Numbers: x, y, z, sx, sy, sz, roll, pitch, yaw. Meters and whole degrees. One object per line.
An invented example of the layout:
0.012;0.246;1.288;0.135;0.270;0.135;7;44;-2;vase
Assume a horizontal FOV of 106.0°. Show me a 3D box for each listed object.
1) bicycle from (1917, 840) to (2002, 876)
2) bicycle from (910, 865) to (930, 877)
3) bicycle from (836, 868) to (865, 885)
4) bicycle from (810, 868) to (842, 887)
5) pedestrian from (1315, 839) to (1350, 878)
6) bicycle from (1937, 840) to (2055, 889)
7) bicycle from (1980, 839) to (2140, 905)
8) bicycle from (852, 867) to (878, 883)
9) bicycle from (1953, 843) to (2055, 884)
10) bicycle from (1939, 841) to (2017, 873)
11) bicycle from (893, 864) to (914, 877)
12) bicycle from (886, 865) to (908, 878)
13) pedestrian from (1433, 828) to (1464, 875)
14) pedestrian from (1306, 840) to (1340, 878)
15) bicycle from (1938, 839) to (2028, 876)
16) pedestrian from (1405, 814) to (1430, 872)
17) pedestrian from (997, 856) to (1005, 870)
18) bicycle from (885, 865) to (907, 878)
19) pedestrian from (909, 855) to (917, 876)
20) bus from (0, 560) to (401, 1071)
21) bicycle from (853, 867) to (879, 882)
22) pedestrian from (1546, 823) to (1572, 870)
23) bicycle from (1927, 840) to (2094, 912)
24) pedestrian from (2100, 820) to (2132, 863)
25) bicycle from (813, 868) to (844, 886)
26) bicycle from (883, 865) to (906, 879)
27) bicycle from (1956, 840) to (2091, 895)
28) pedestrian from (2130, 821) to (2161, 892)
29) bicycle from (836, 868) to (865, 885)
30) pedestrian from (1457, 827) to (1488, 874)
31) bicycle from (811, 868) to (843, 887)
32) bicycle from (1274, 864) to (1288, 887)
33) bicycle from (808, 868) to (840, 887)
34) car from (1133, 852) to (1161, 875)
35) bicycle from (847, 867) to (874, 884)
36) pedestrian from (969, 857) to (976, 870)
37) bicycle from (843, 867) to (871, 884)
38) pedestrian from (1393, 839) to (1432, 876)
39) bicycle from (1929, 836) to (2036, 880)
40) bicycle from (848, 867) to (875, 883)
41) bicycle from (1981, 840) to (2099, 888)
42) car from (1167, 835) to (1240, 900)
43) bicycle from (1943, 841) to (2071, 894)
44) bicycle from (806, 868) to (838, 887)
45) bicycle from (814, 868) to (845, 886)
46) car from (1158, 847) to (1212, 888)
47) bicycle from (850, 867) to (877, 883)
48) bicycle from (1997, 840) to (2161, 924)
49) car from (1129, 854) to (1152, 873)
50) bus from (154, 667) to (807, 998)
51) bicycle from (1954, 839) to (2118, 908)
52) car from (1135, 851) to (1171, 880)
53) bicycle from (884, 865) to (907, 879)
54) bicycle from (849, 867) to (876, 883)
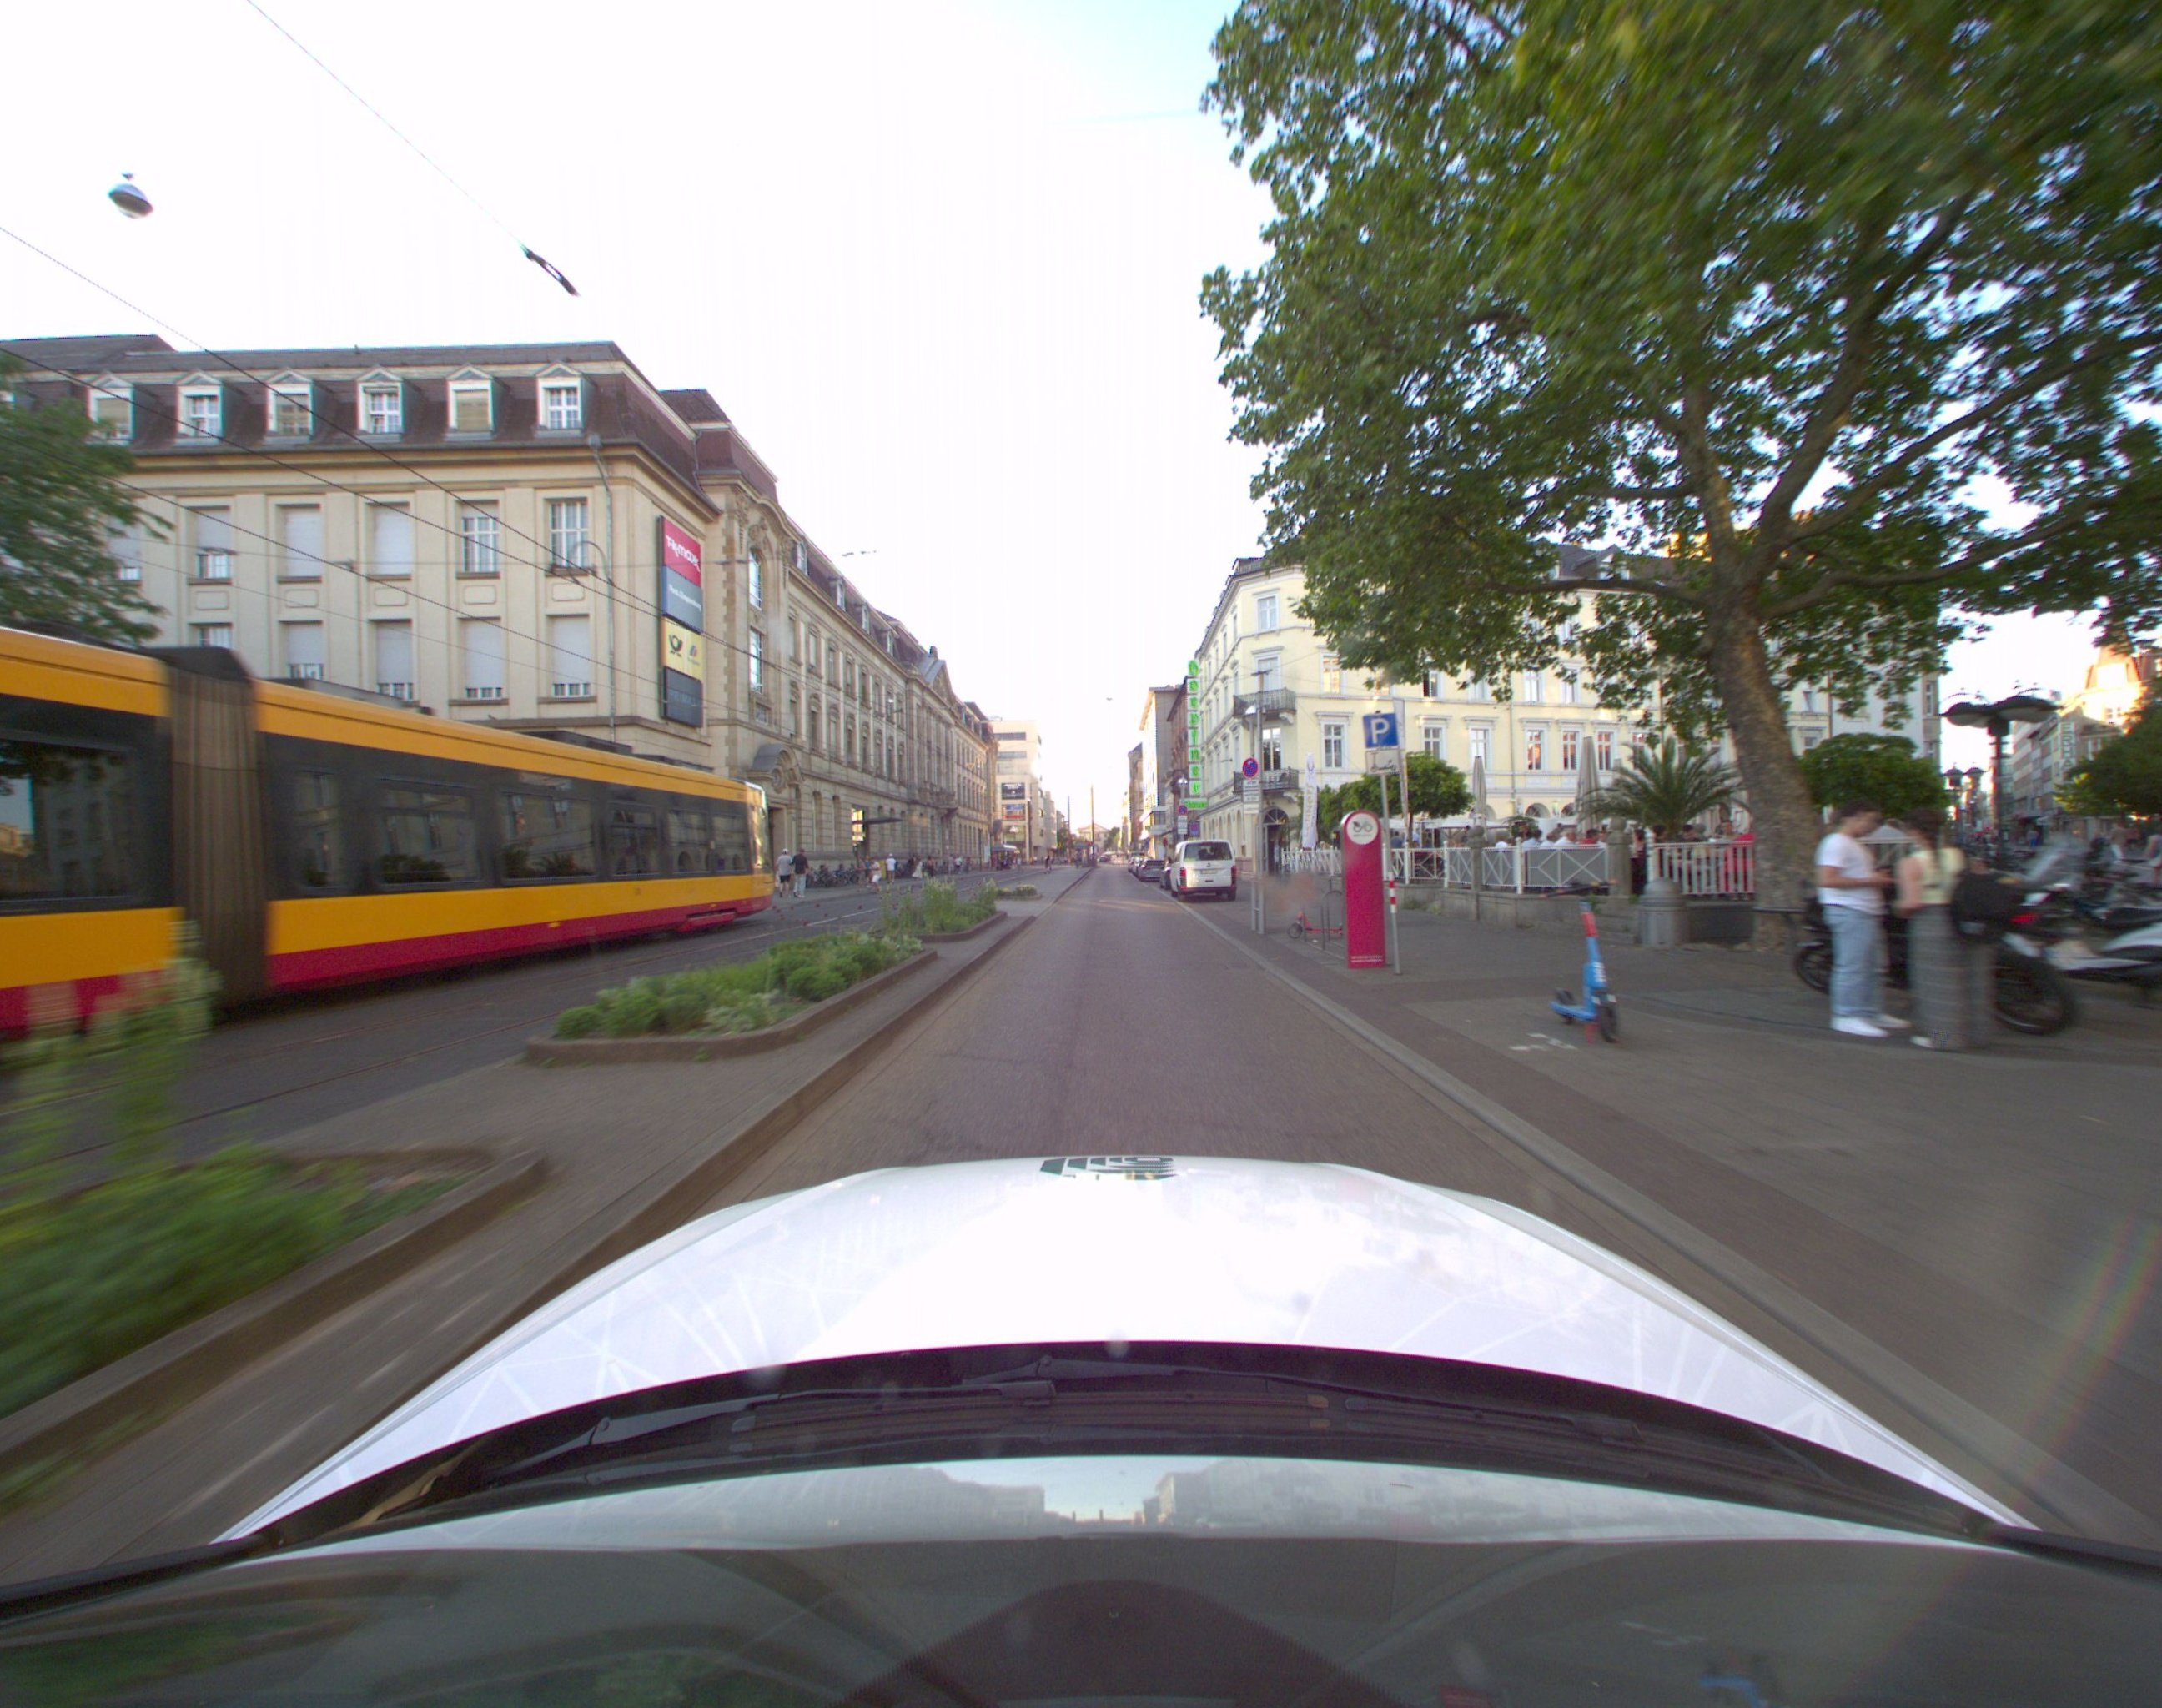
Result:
32.769;0.158;30.431;2.089;1.291;0.445;-1;0;36;bicycle
-13.231;1.377;66.851;1.583;0.949;0.358;-1;-2;-11;bicycle
-13.535;1.331;47.871;1.583;0.949;0.358;-1;-1;-11;bicycle
-13.718;1.265;43.771;1.583;0.949;0.358;-1;-2;-11;bicycle
8.636;0.159;28.016;0.899;1.314;0.967;-1;-2;1;pedestrian
24.921;0.289;22.238;2.090;1.291;0.445;-1;1;36;bicycle
20.262;0.343;16.923;0.444;1.291;2.095;-2;1;-34;bicycle
-13.738;1.336;51.818;1.583;0.949;0.358;-1;-2;-11;bicycle
29.569;0.313;26.135;2.089;1.291;0.445;-1;0;36;bicycle
37.112;0.154;33.725;2.089;1.291;0.445;-1;0;36;bicycle
-13.518;1.295;62.077;1.583;0.949;0.358;-1;-2;-11;bicycle
-13.761;1.320;60.880;1.583;0.949;0.358;-1;-2;-11;bicycle
13.128;-0.088;29.105;0.754;1.644;0.660;-1;-2;2;pedestrian
8.652;0.192;29.128;0.899;1.306;0.967;-1;-2;1;pedestrian
31.979;0.129;28.913;2.089;1.291;0.445;-1;0;36;bicycle
13.425;-0.425;32.530;0.614;2.305;0.577;-1;-2;-20;pedestrian
-9.075;1.005;92.396;0.777;1.580;0.676;-1;0;-10;pedestrian
-13.717;1.316;60.445;1.583;0.949;0.358;-1;-2;-11;bicycle
-13.069;0.893;63.309;0.517;1.672;0.480;-1;-1;-14;pedestrian
-9.098;-0.245;4.875;2.811;3.624;8.293;-1;0;2;bus
-13.807;1.329;52.263;1.583;0.949;0.358;-1;-2;-11;bicycle
17.634;-0.262;30.051;0.513;1.712;0.572;0;-2;-30;pedestrian
17.996;0.394;15.833;0.444;1.291;2.095;-3;2;-34;bicycle
46.507;-0.543;36.605;0.690;1.865;0.767;-3;-3;42;pedestrian
-13.848;1.281;44.630;1.583;0.949;0.358;-1;-2;-11;bicycle
-13.625;1.305;59.592;1.583;0.949;0.358;-1;-2;-11;bicycle
22.794;0.321;19.752;2.090;1.291;0.445;-1;0;36;bicycle
24.808;0.052;18.859;0.606;1.611;0.531;0;-3;-41;pedestrian
-13.448;1.322;47.434;1.583;0.949;0.358;-1;-2;-11;bicycle
13.981;-0.118;29.073;0.754;1.644;0.660;-2;-2;4;pedestrian
-13.784;1.275;44.220;1.583;0.949;0.358;-1;-2;-11;bicycle
8.082;0.856;32.954;0.249;0.902;1.374;-1;-2;2;bicycle
-13.661;1.244;43.373;1.583;0.949;0.358;-1;-2;-11;bicycle
5.259;0.791;65.171;1.986;1.667;4.422;-1;-2;2;car
-13.529;1.320;50.031;1.583;0.949;0.358;-1;-2;-10;bicycle
-12.052;1.010;90.393;0.626;1.429;0.712;-1;0;8;pedestrian
-13.648;1.312;49.559;1.583;0.949;0.358;-1;-2;-11;bicycle
11.657;0.141;28.670;0.960;1.267;0.905;-1;-2;1;pedestrian
27.080;0.130;24.516;2.089;1.291;0.445;-1;0;36;bicycle
-13.580;1.317;50.468;1.583;0.949;0.358;-1;-2;-11;bicycle
27.004;0.279;22.980;2.089;1.291;0.445;-1;0;36;bicycle
4.035;0.436;27.535;1.908;1.981;4.422;-1;-1;2;car
23.483;0.328;20.706;2.090;1.291;0.445;-1;0;36;bicycle
-13.618;1.228;42.831;1.583;0.949;0.358;-1;-1;-11;bicycle
-13.926;1.293;45.035;1.583;0.949;0.358;-1;-2;-11;bicycle
4.632;0.610;36.849;1.986;1.667;4.422;-1;-1;2;car
-13.697;1.338;51.367;1.583;0.949;0.358;-1;-2;-11;bicycle
16.627;0.432;13.356;0.444;1.291;2.095;-2;2;-34;bicycle
5.666;0.910;78.321;1.986;1.667;4.422;-1;-2;2;car
-8.698;-0.232;14.981;2.811;3.612;11.828;-1;0;2;bus
19.011;0.358;16.280;0.444;1.291;2.095;-3;2;-34;bicycle
4.563;0.719;52.337;1.986;1.761;4.422;-1;-1;2;car
-13.687;1.315;60.044;1.582;0.949;0.358;-1;-2;-9;bicycle
-13.634;1.331;50.908;1.582;0.949;0.358;-1;-2;-10;bicycle
